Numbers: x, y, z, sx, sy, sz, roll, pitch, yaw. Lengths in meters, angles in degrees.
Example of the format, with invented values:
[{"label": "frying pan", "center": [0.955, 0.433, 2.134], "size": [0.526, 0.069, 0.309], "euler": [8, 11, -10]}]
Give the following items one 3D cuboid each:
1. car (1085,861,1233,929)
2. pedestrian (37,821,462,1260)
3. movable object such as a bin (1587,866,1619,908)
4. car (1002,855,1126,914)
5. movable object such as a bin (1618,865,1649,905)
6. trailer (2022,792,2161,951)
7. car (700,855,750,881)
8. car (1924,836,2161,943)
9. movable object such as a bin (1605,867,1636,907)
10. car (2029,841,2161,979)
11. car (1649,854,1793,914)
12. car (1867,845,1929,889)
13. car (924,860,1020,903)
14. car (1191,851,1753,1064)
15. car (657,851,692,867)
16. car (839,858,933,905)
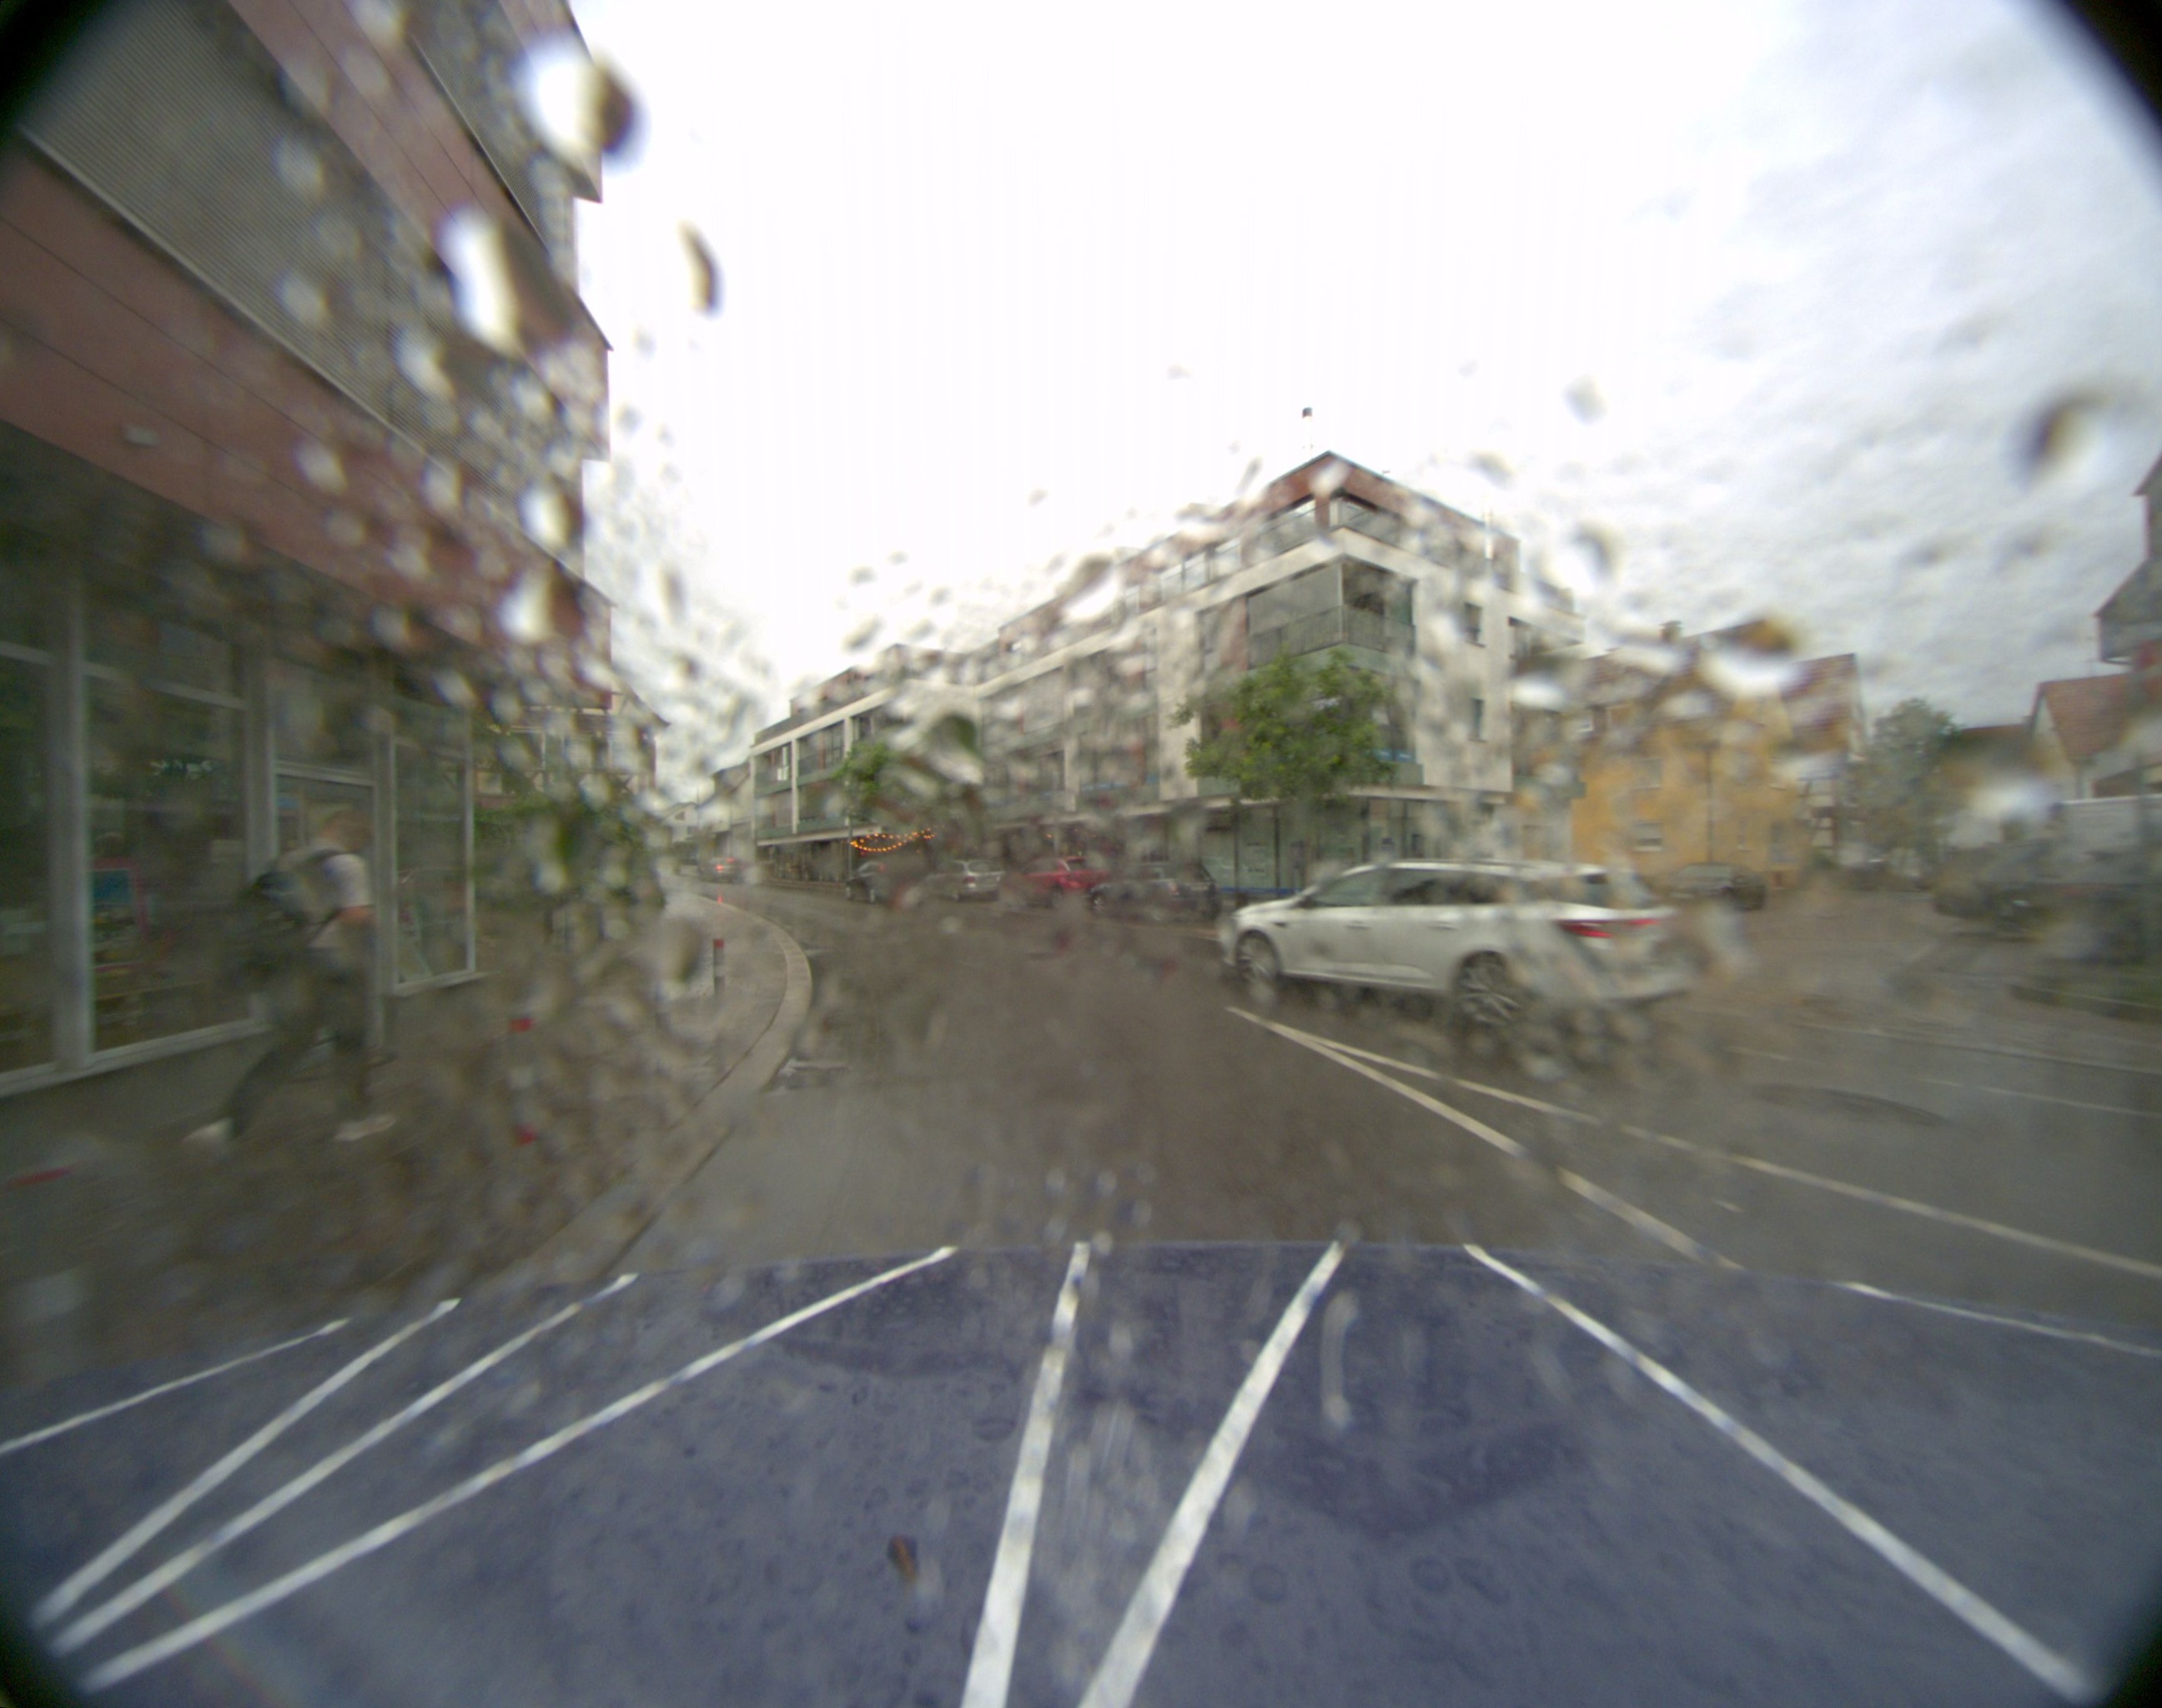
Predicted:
[{"label": "car", "center": [1.791, 0.915, 18.528], "size": [1.682, 1.427, 3.576], "euler": [-3, 1, -33]}, {"label": "pedestrian", "center": [-3.938, 0.766, 3.768], "size": [0.822, 1.796, 1.145], "euler": [-2, 1, -10]}, {"label": "movable object such as a bin", "center": [16.018, 1.008, 23.314], "size": [0.524, 1.226, 0.630], "euler": [-3, 2, -32]}, {"label": "car", "center": [-0.593, 0.841, 22.686], "size": [1.806, 1.546, 3.911], "euler": [-3, 1, -34]}, {"label": "movable object such as a bin", "center": [17.576, 0.978, 24.176], "size": [0.524, 1.226, 0.630], "euler": [-3, 2, -32]}, {"label": "trailer", "center": [15.206, 0.196, 10.147], "size": [1.840, 2.074, 3.086], "euler": [0, -4, -43]}, {"label": "car", "center": [-21.049, 0.809, 44.897], "size": [1.782, 1.404, 3.723], "euler": [-3, 1, -39]}, {"label": "car", "center": [17.208, 0.591, 12.746], "size": [1.840, 1.660, 3.990], "euler": [0, -4, -42]}, {"label": "movable object such as a bin", "center": [17.001, 1.032, 23.932], "size": [0.524, 1.226, 0.630], "euler": [-3, 2, -32]}, {"label": "car", "center": [13.558, 0.606, 8.231], "size": [1.840, 1.499, 3.989], "euler": [-3, 1, -42]}, {"label": "car", "center": [19.478, 0.833, 23.085], "size": [4.551, 1.499, 1.995], "euler": [-2, 1, -31]}, {"label": "car", "center": [41.395, 0.612, 38.468], "size": [4.007, 2.002, 1.994], "euler": [-3, 1, -41]}, {"label": "car", "center": [-3.973, 0.931, 27.220], "size": [1.729, 1.386, 3.851], "euler": [-3, 1, -36]}, {"label": "car", "center": [3.489, 0.735, 7.860], "size": [1.928, 1.482, 4.851], "euler": [-1, 0, -33]}, {"label": "car", "center": [-55.084, 0.719, 103.104], "size": [4.005, 2.002, 1.996], "euler": [-2, 1, -25]}, {"label": "car", "center": [-6.838, 0.880, 26.319], "size": [1.789, 1.456, 4.503], "euler": [-1, 0, -33]}]
